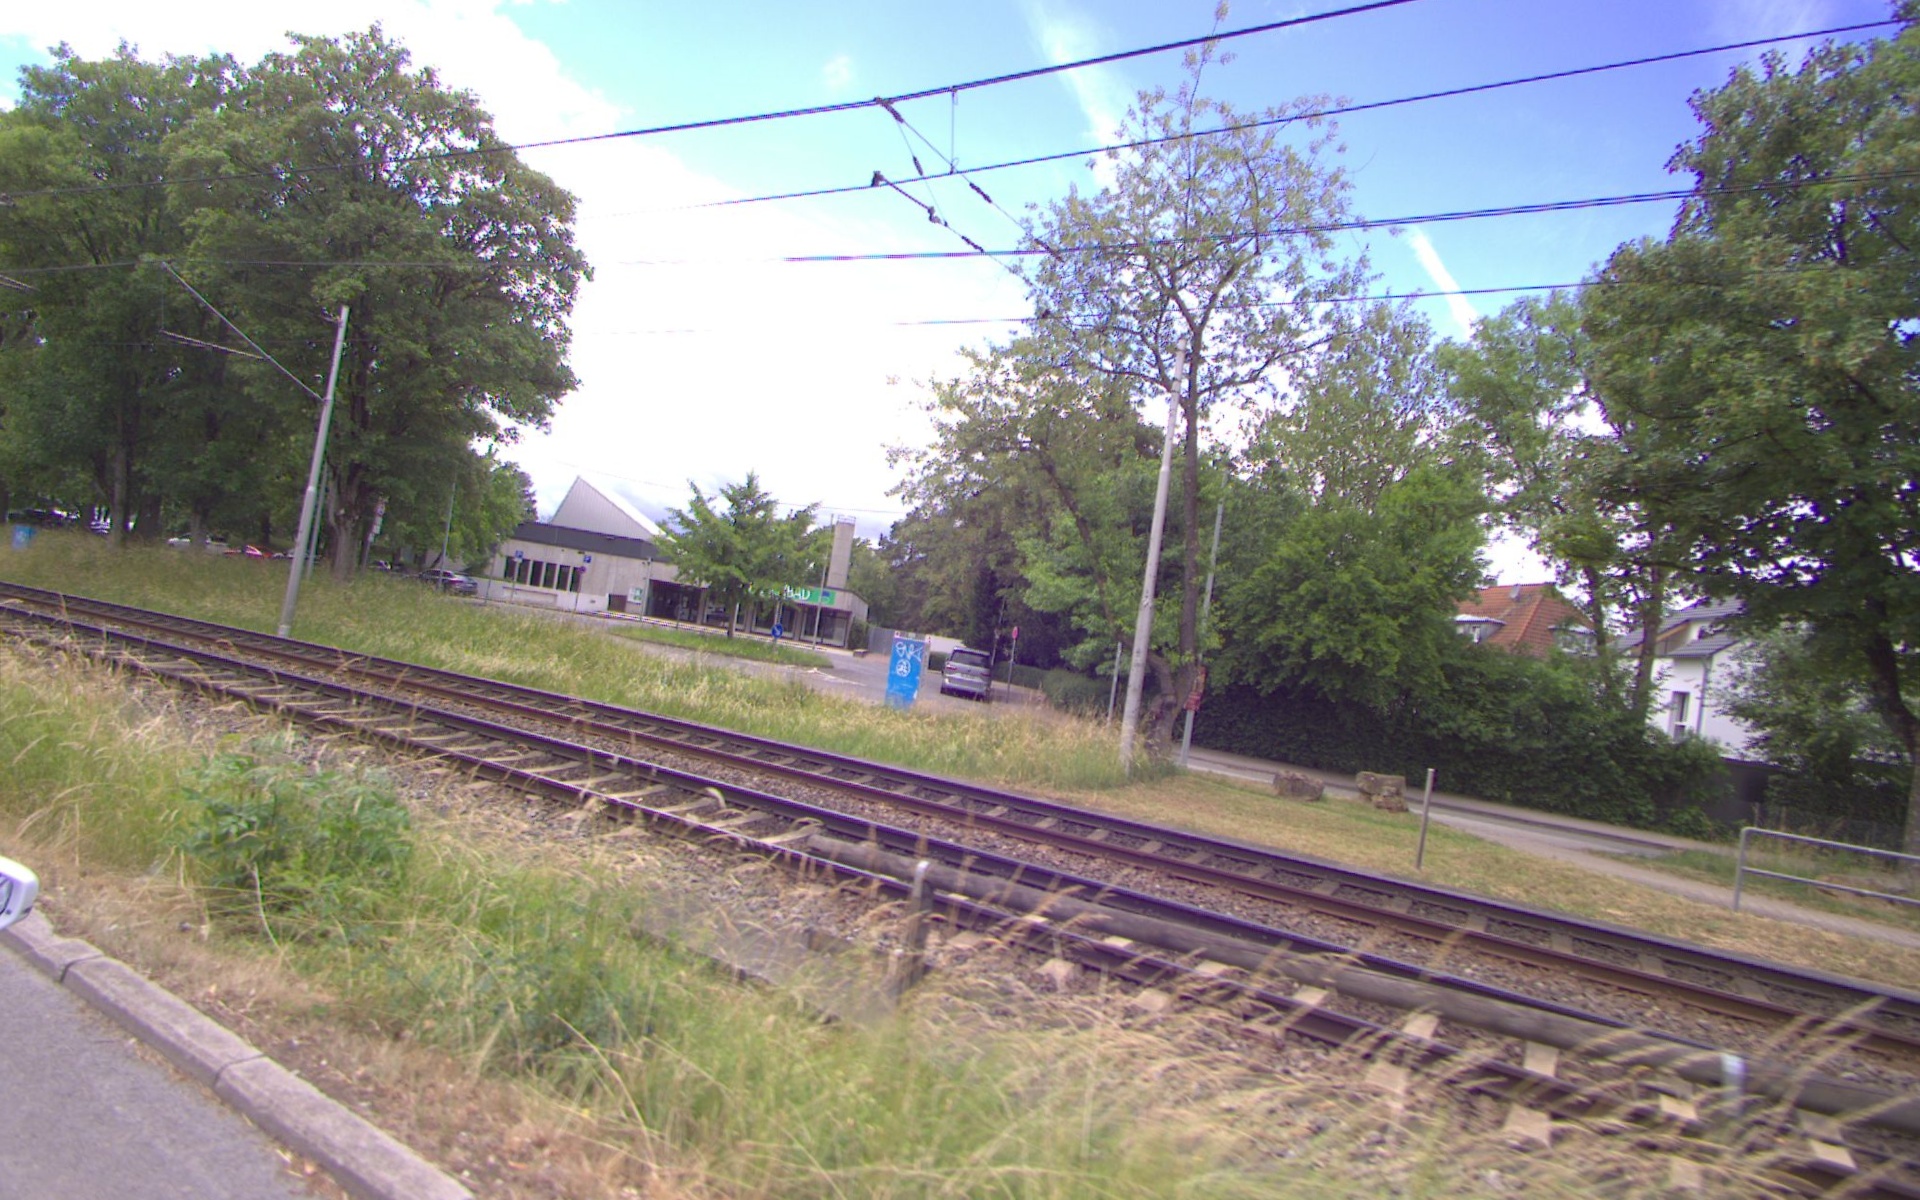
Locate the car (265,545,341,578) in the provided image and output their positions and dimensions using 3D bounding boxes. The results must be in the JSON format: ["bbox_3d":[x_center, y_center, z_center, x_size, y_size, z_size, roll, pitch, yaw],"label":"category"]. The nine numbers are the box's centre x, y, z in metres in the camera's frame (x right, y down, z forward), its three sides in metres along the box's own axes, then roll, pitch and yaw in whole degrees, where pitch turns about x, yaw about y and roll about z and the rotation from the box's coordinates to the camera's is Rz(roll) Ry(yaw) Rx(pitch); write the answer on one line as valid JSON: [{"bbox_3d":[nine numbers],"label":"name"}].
[{"bbox_3d":[-41.224,-2.423,63.106,3.927,1.458,2.002,7,-3,22],"label":"car"}]

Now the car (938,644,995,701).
[{"bbox_3d":[0.185,2.816,40.197,1.883,1.881,4.717,8,-2,-1],"label":"car"}]

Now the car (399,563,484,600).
[{"bbox_3d":[-30.276,-1.076,58.779,4.266,1.458,2.002,7,-3,22],"label":"car"}]

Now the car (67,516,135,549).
[{"bbox_3d":[-60.801,-4.796,71.230,3.928,1.718,2.002,7,-3,24],"label":"car"}]

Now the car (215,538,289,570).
[{"bbox_3d":[-45.745,-2.988,65.027,3.927,1.458,2.002,7,-3,22],"label":"car"}]

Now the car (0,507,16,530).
[{"bbox_3d":[-85.136,-7.370,87.403,3.929,1.832,2.001,8,-2,-3],"label":"car"}]

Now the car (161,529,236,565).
[{"bbox_3d":[-50.852,-3.554,67.161,4.151,1.718,2.003,7,-3,22],"label":"car"}]

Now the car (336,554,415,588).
[{"bbox_3d":[-35.314,-1.738,60.790,3.927,1.458,2.002,7,-3,22],"label":"car"}]
